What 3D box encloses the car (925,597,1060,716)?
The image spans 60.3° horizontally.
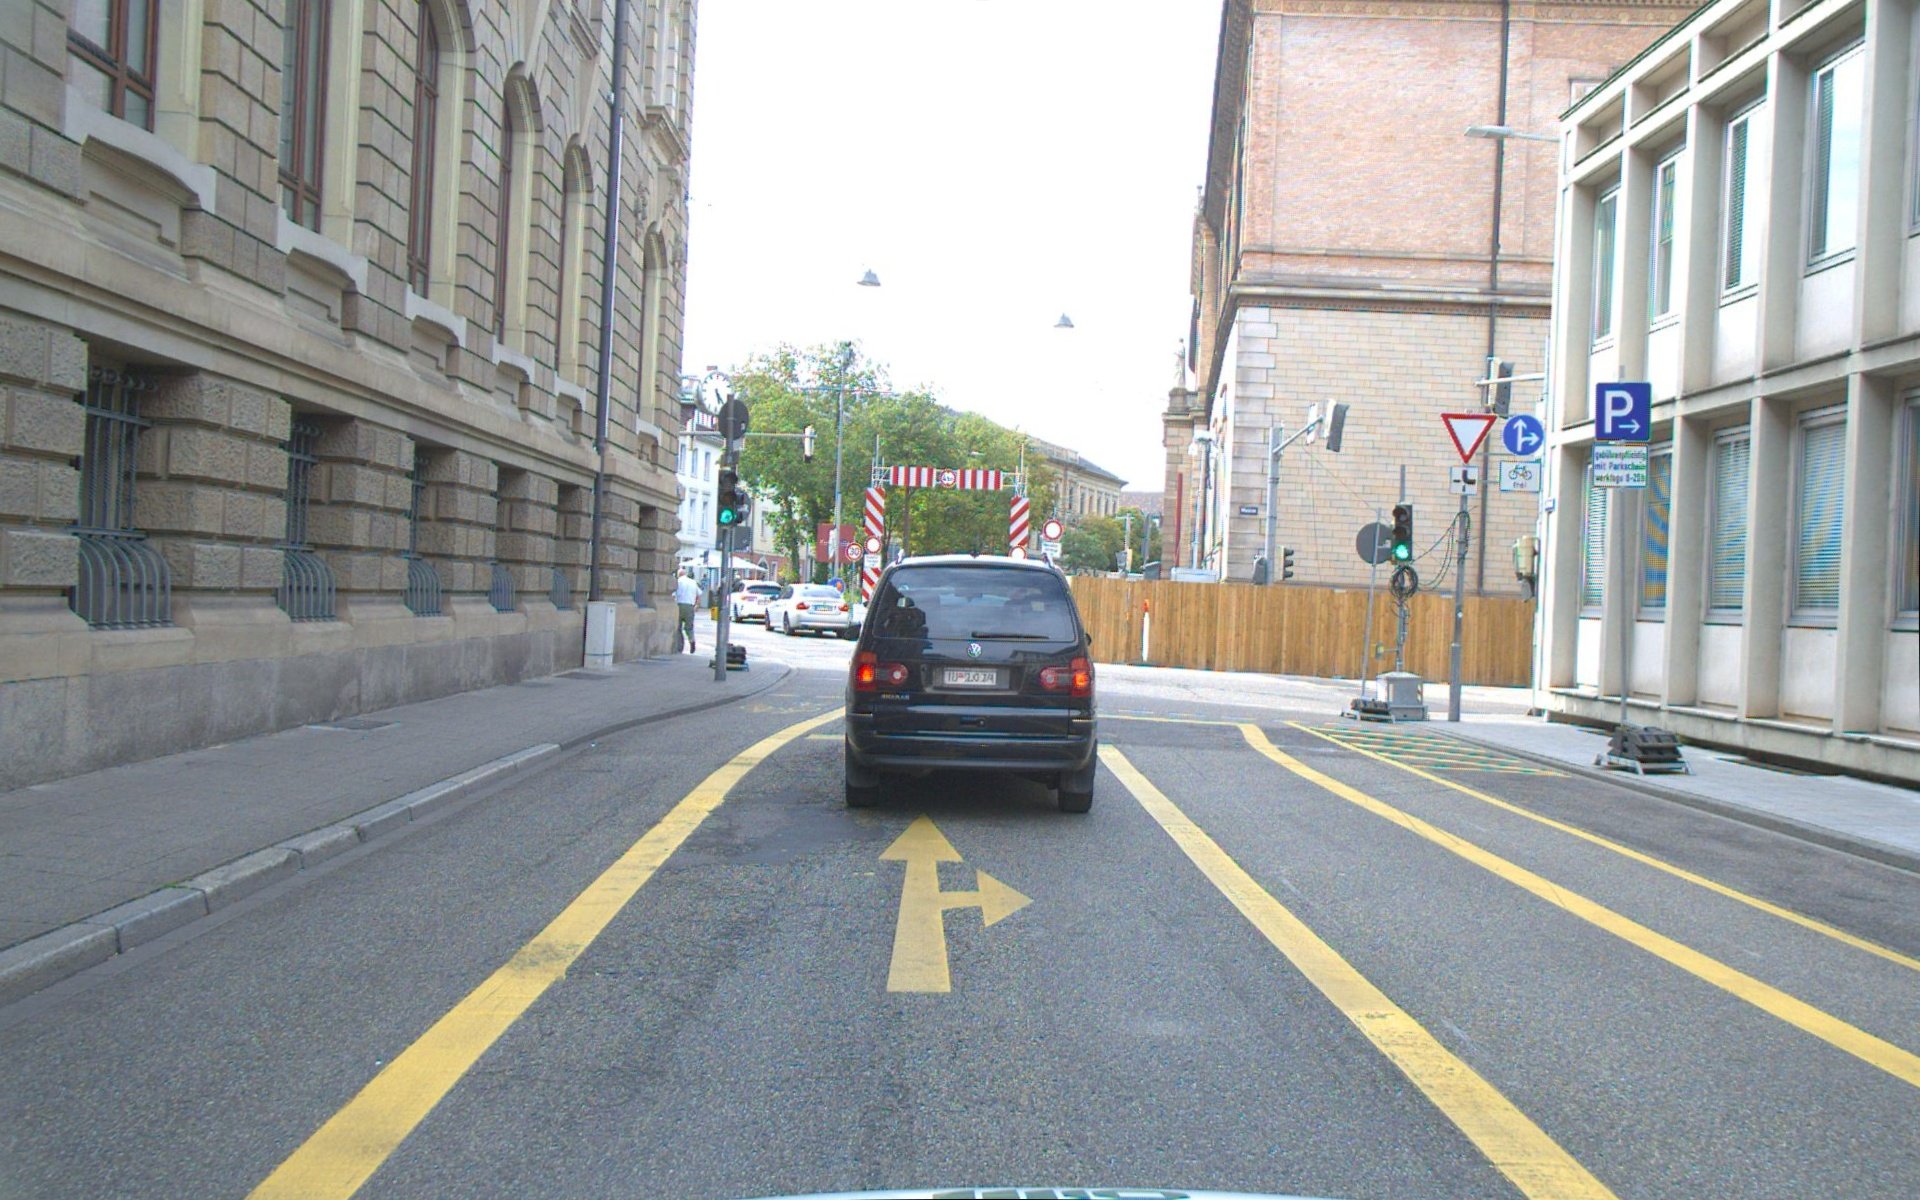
[{"bbox_3d":[0.391,0.746,23.902,1.644,1.494,4.101,3,0,-2],"label":"car"}]

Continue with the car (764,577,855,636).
[{"bbox_3d":[-4.293,0.158,46.775,1.677,1.527,3.979,2,0,-18],"label":"car"}]

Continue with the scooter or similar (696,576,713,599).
[{"bbox_3d":[-14.350,-0.685,92.994,0.587,1.277,1.553,2,0,3],"label":"scooter or similar"}]

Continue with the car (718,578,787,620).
[{"bbox_3d":[-7.046,-0.050,55.839,1.624,1.344,3.656,2,0,-18],"label":"car"}]

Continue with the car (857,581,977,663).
[{"bbox_3d":[-0.984,0.439,35.595,1.743,1.613,3.986,2,0,-14],"label":"car"}]

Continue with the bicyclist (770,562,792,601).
[{"bbox_3d":[-8.650,-0.894,79.978,0.946,1.813,0.986,2,0,-3],"label":"bicyclist"}]

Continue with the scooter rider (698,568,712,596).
[{"bbox_3d":[-14.329,-0.997,93.019,0.587,1.516,0.680,2,0,4],"label":"scooter rider"}]

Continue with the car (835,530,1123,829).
[{"bbox_3d":[0.169,0.506,12.578,1.753,1.821,4.104,3,0,1],"label":"car"}]

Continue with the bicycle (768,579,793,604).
[{"bbox_3d":[-8.671,-0.414,80.016,0.946,1.131,2.789,2,0,-2],"label":"bicycle"}]

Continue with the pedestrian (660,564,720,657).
[{"bbox_3d":[-5.586,0.211,34.223,0.784,1.851,1.037,4,0,-32],"label":"pedestrian"}]

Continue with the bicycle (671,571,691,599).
[{"bbox_3d":[-13.547,-0.732,80.312,0.909,1.277,2.536,2,0,-9],"label":"bicycle"}]
